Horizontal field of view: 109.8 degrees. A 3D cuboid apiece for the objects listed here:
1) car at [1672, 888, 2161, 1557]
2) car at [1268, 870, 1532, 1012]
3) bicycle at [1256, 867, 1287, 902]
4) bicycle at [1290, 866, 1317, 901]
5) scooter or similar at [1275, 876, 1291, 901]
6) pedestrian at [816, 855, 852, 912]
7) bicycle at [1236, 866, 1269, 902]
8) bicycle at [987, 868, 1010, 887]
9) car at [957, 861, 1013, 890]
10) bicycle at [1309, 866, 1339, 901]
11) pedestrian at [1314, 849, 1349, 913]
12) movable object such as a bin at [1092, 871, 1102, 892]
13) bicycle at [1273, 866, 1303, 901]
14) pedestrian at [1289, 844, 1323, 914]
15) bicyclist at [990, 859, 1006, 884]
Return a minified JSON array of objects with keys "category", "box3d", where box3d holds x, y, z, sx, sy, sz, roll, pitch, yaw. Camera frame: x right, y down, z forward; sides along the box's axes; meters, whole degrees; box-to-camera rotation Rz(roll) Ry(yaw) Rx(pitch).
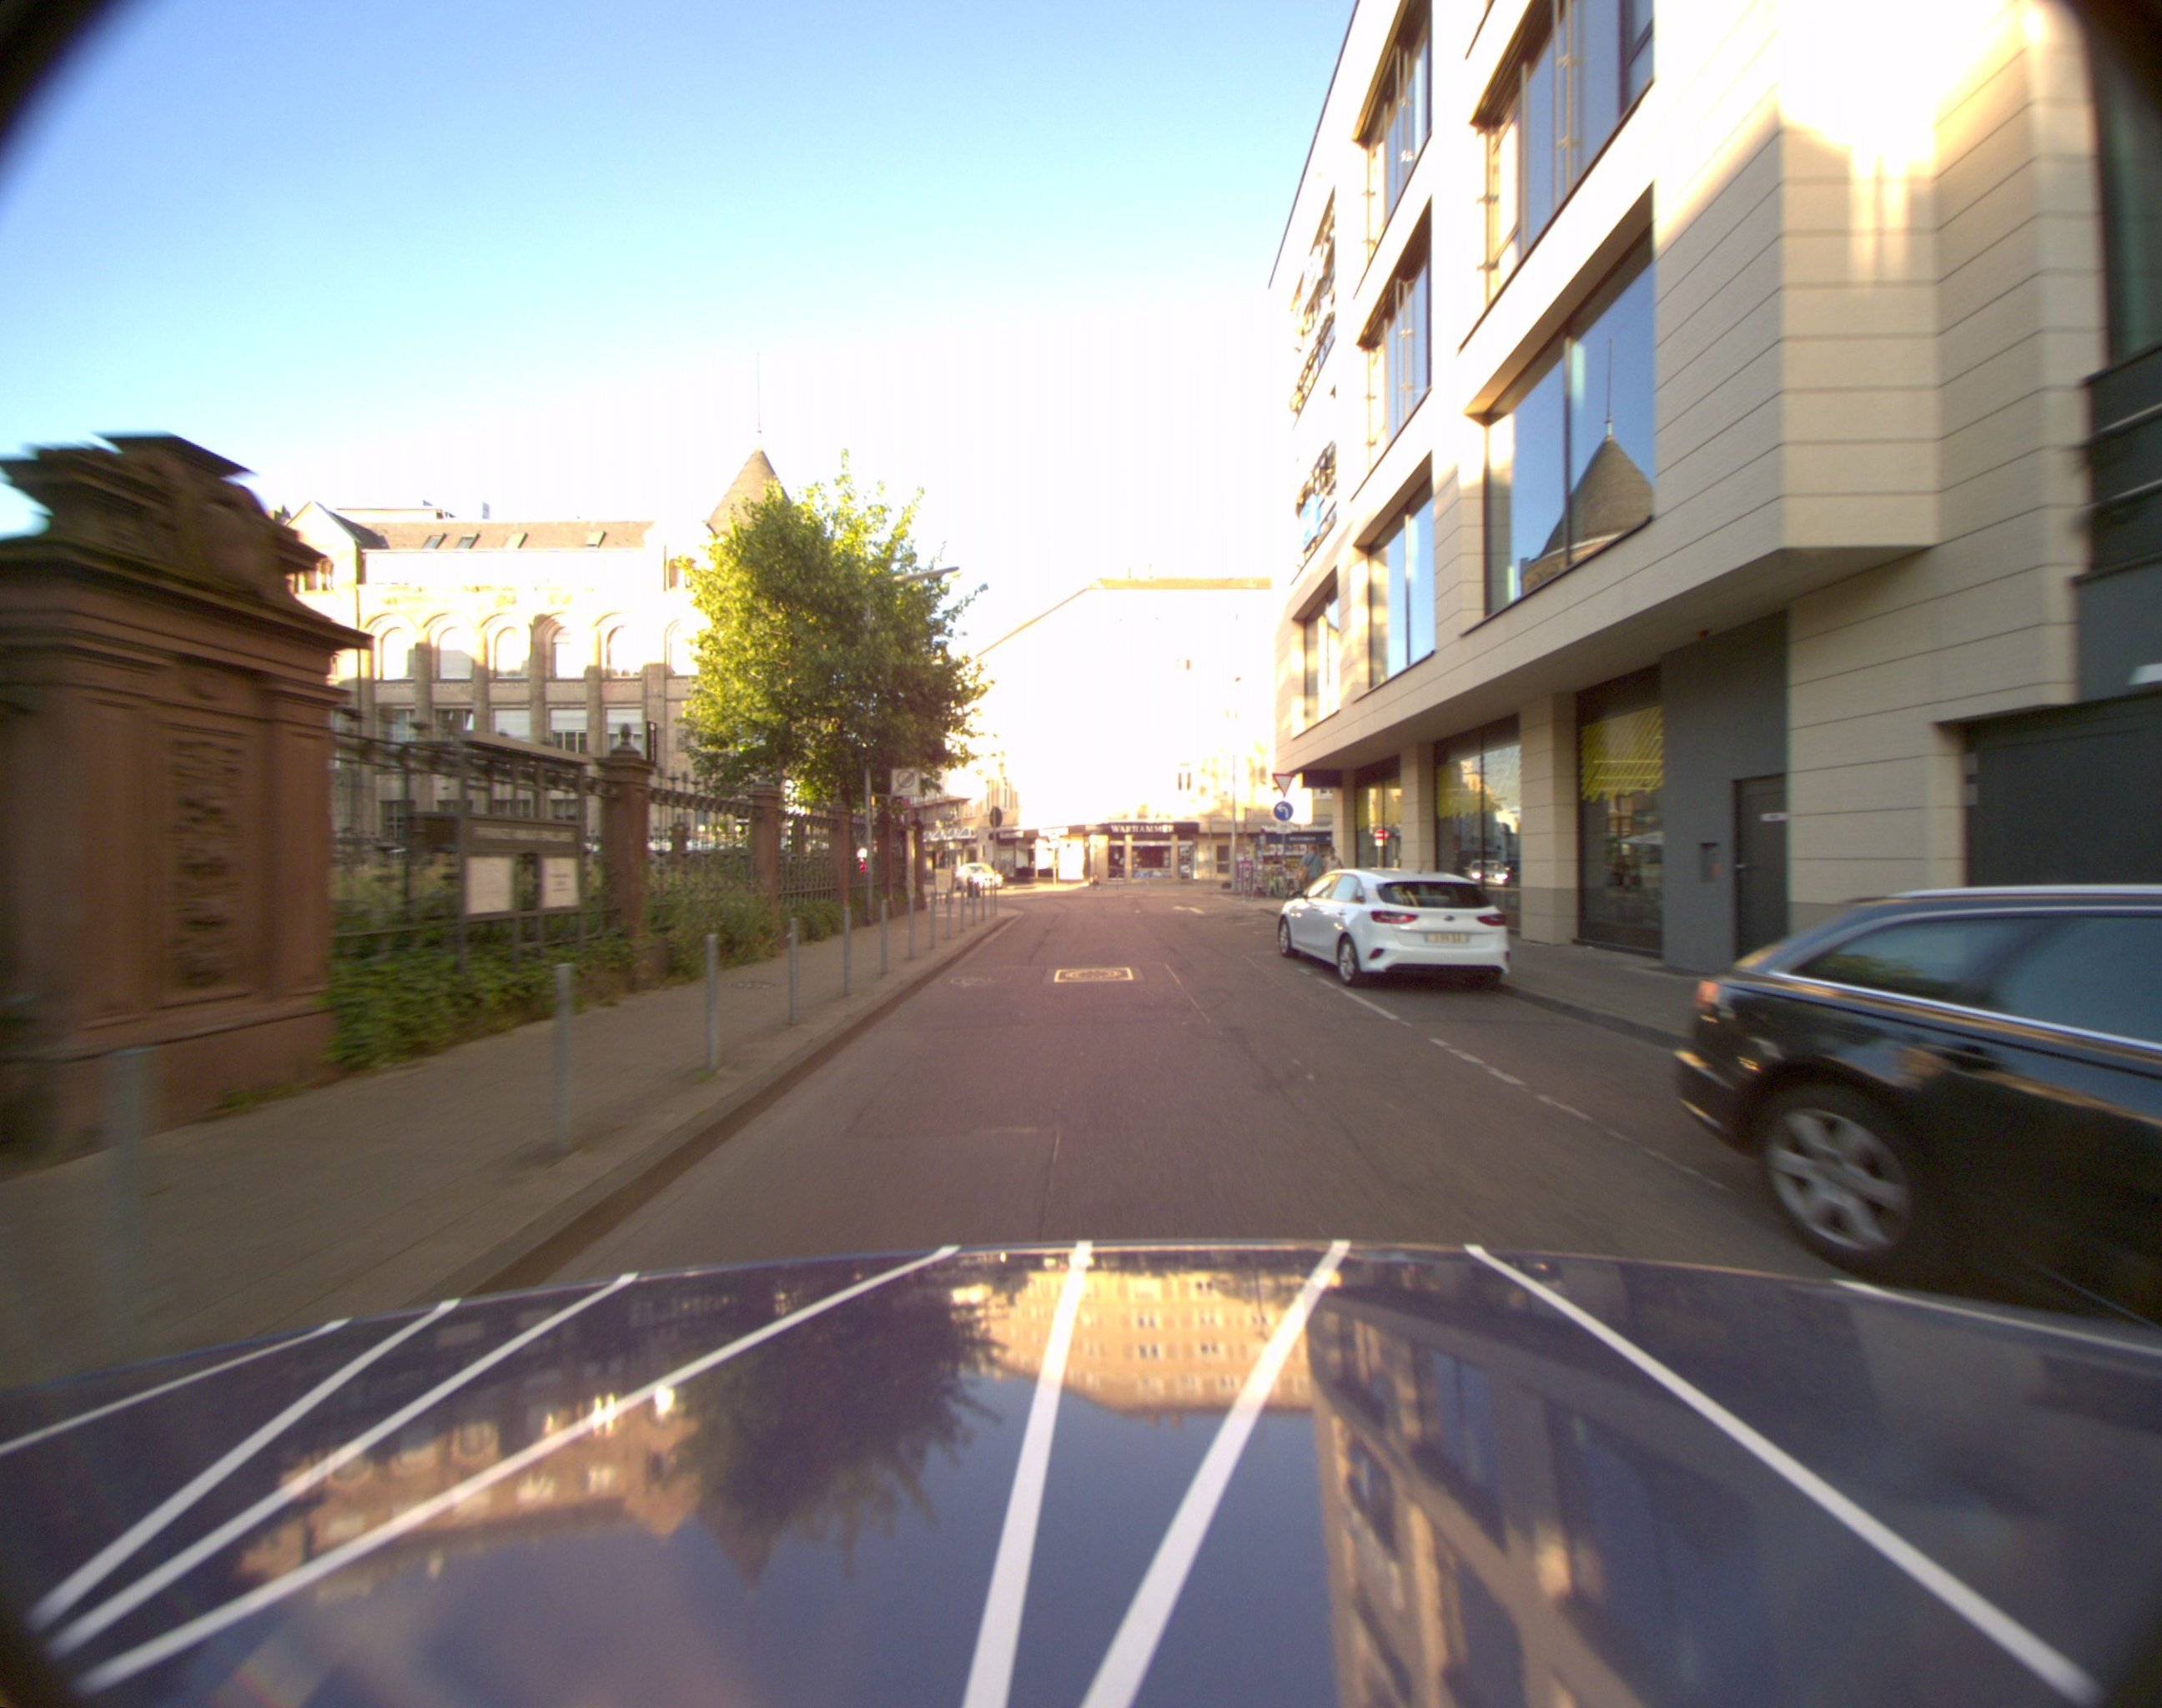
[{"category":"car","box3d":[3.596,0.947,1.175,1.888,1.588,4.690,0,0,3]},{"category":"car","box3d":[3.976,0.987,10.350,1.782,1.444,4.230,0,0,-1]},{"category":"bicycle","box3d":[7.305,1.134,29.192,0.582,1.247,2.043,-1,1,-3]},{"category":"bicycle","box3d":[8.566,1.118,29.290,0.513,1.247,1.979,-1,1,1]},{"category":"scooter or similar","box3d":[7.380,1.257,27.753,0.387,0.879,0.770,-1,1,-1]},{"category":"pedestrian","box3d":[-7.631,0.888,23.476,0.843,1.713,0.639,0,0,35]},{"category":"bicycle","box3d":[6.538,1.118,29.117,0.665,1.247,2.140,-1,1,-3]},{"category":"bicycle","box3d":[-5.229,1.444,47.883,0.667,1.131,1.817,-1,1,-33]},{"category":"car","box3d":[-5.102,1.082,39.830,2.002,1.413,4.451,-1,0,-20]},{"category":"bicycle","box3d":[9.323,1.109,29.206,0.513,1.247,1.978,-1,1,-1]},{"category":"pedestrian","box3d":[6.662,0.718,20.220,0.674,1.665,0.647,-1,0,-2]},{"category":"movable object such as a bin","box3d":[0.846,1.467,40.585,0.361,1.057,0.355,-1,1,-41]},{"category":"bicycle","box3d":[7.943,1.126,29.262,0.513,1.247,1.978,-1,1,-3]},{"category":"pedestrian","box3d":[5.975,0.660,20.191,0.674,1.826,0.647,-1,0,-2]},{"category":"bicyclist","box3d":[-5.226,1.084,47.862,0.661,1.561,0.861,-1,1,-35]}]
